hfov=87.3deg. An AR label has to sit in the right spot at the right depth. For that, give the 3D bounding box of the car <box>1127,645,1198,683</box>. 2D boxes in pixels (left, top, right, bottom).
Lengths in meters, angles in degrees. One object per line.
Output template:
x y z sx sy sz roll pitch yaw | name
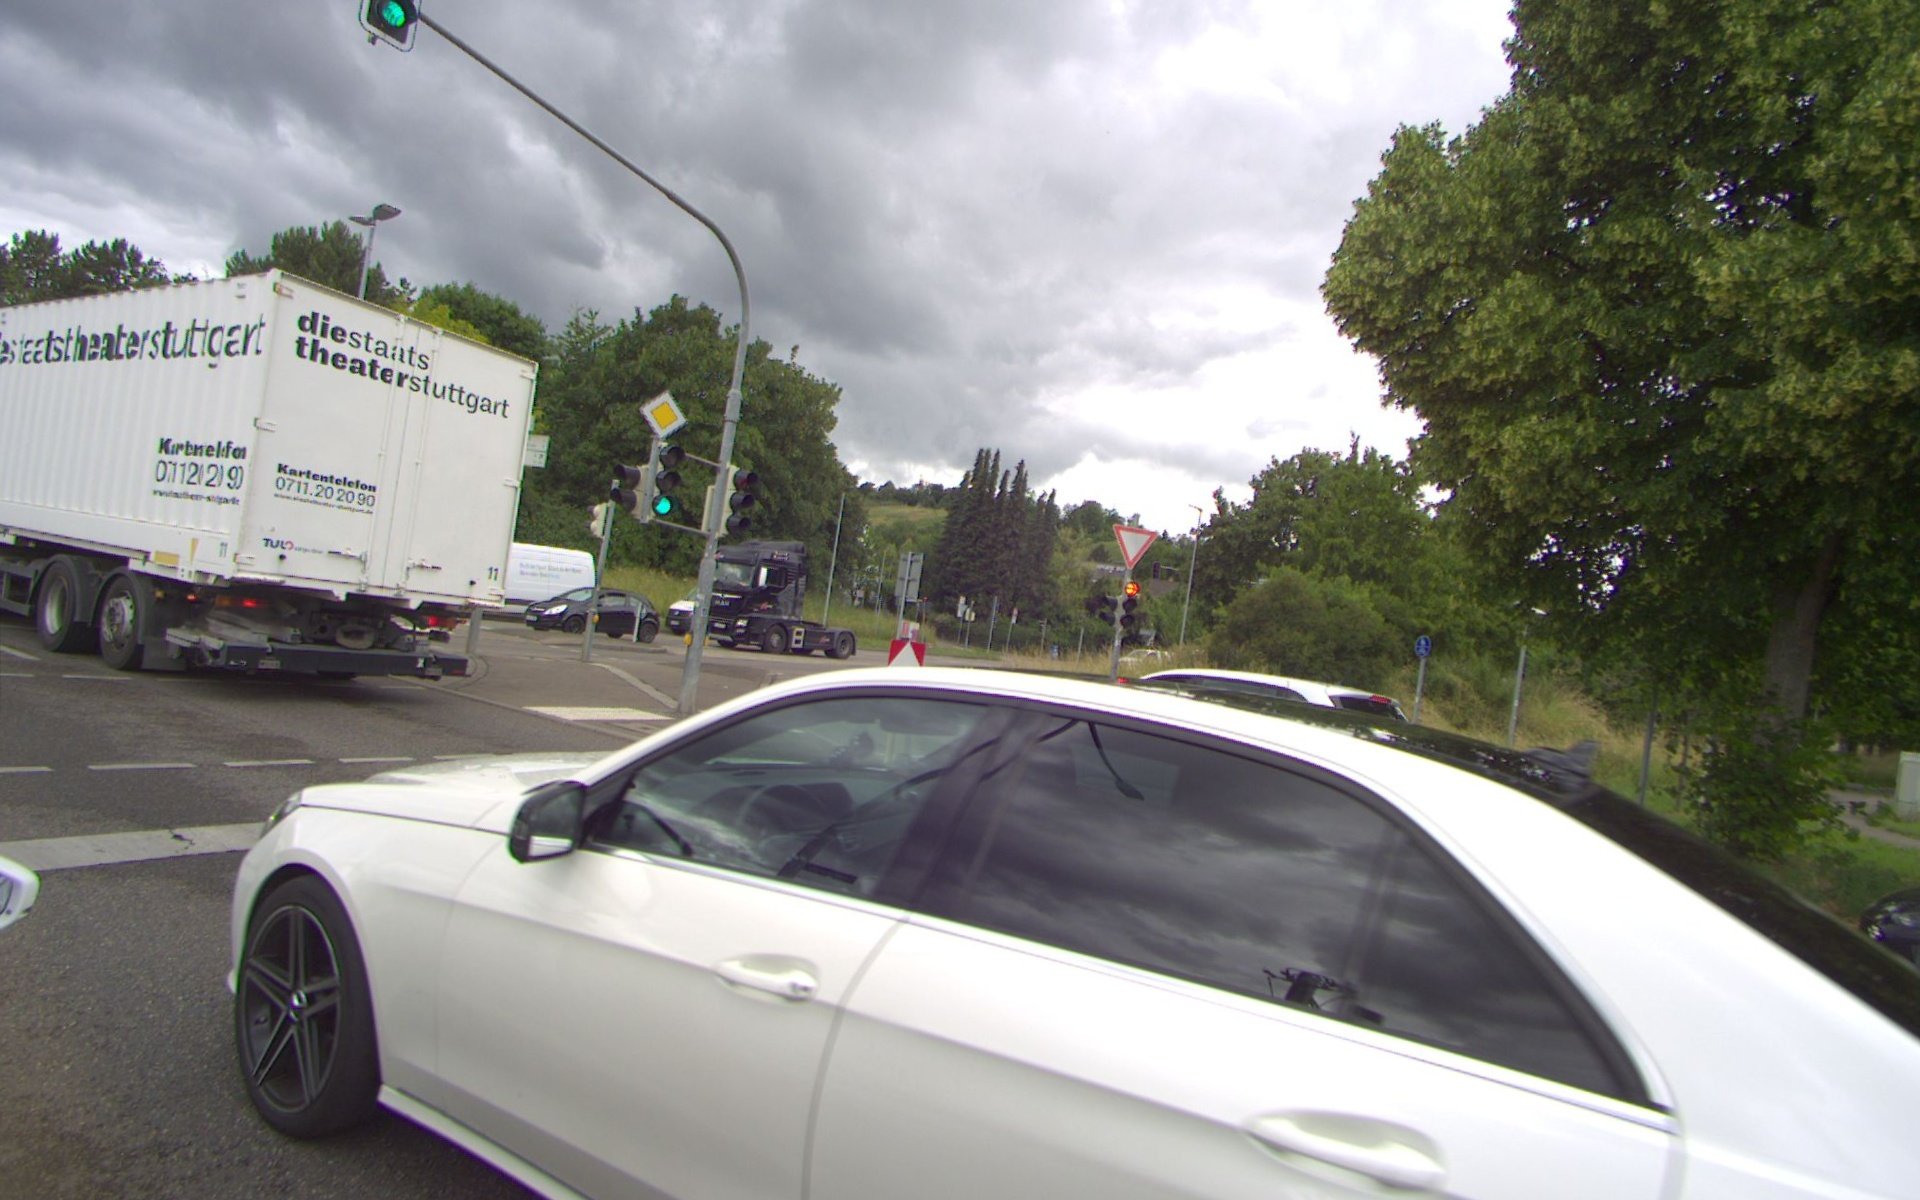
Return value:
13.359 4.206 66.158 4.932 1.927 1.976 9 -3 -43 | car

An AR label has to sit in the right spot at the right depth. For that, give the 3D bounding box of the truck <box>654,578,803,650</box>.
-9.559 0.632 42.103 2.128 2.255 6.028 6 -2 35 | truck

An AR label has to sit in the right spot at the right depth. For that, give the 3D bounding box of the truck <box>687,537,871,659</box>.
-6.212 0.035 35.389 2.648 3.527 6.004 6 -1 34 | truck

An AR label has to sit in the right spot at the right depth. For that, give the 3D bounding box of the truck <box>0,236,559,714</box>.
-9.442 -1.422 12.111 10.013 3.949 2.808 7 -1 32 | truck

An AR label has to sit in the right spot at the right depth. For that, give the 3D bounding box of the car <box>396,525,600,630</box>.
-15.269 -0.660 33.676 1.968 2.660 5.814 6 -2 34 | car

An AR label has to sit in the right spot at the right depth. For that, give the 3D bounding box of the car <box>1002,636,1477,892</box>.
2.578 1.491 10.258 1.752 1.673 4.325 10 -3 -37 | car

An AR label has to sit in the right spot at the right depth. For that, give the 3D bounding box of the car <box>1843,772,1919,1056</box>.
7.156 2.008 5.317 3.511 1.524 1.603 6 -2 38 | car

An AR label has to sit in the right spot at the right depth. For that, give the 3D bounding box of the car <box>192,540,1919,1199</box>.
0.105 0.812 2.513 4.247 1.428 1.803 6 -2 33 | car

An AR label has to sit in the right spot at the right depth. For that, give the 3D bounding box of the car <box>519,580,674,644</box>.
-10.431 0.389 29.098 1.669 1.353 3.882 6 -3 34 | car
